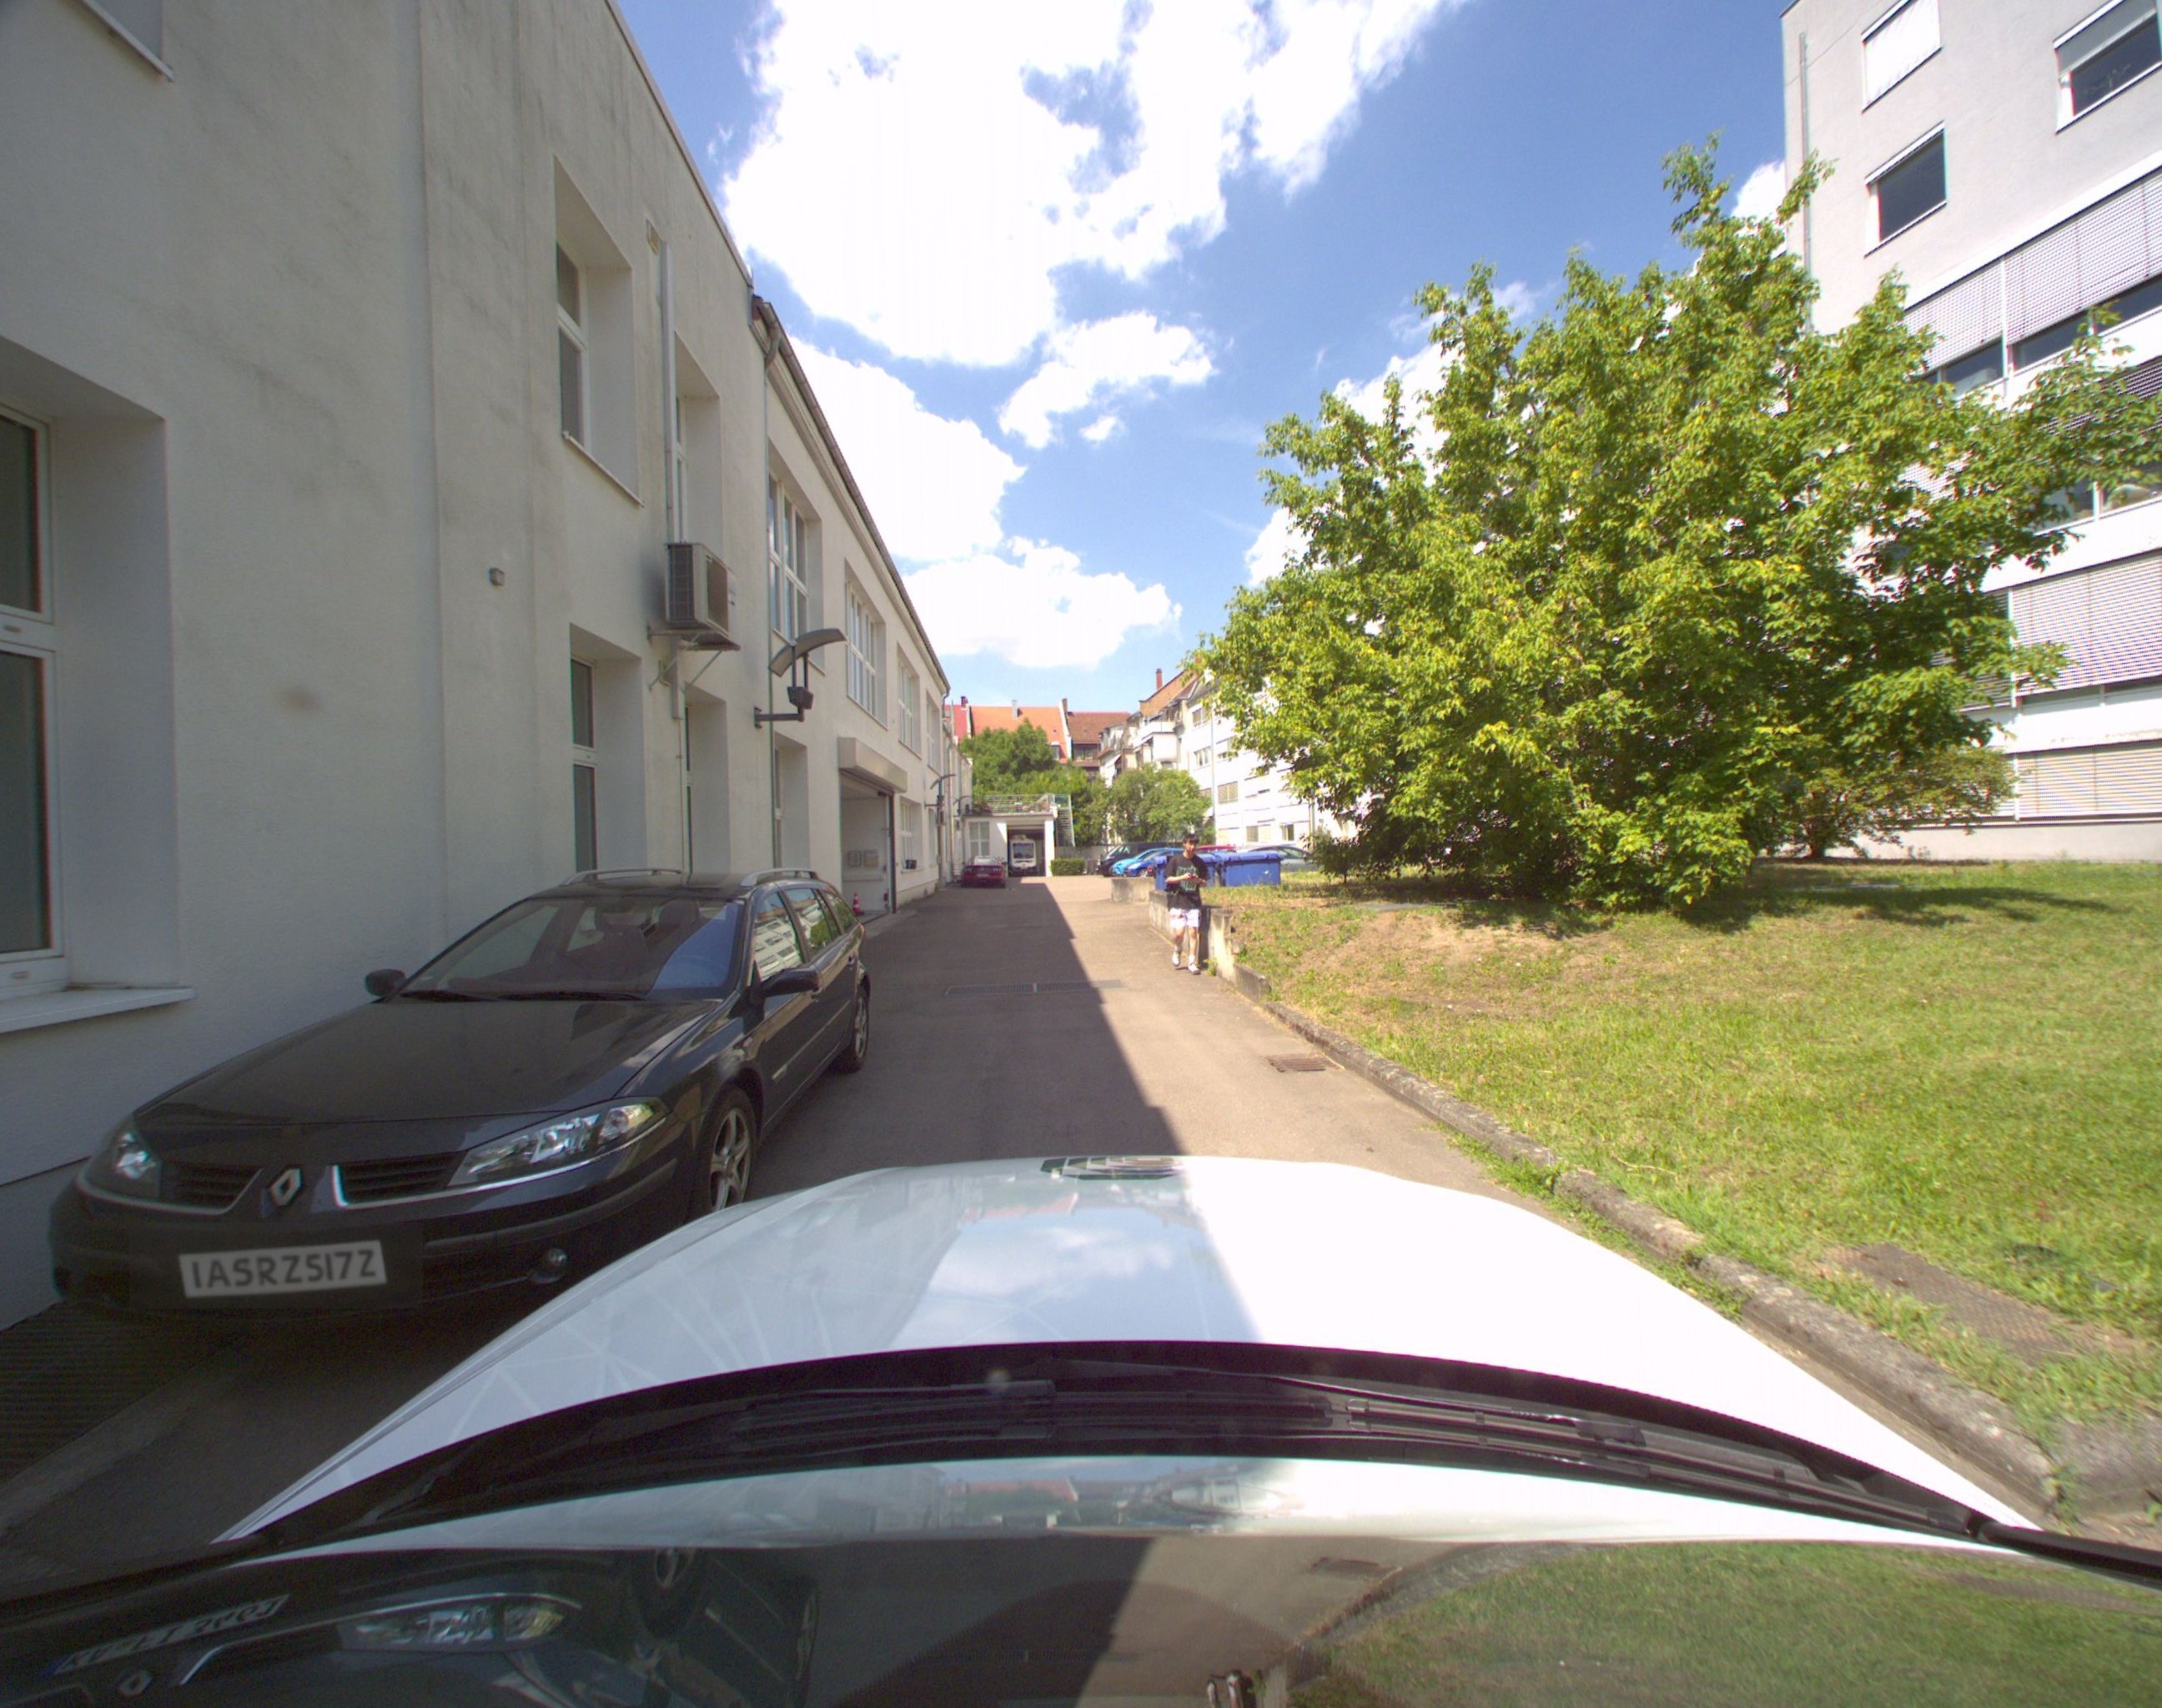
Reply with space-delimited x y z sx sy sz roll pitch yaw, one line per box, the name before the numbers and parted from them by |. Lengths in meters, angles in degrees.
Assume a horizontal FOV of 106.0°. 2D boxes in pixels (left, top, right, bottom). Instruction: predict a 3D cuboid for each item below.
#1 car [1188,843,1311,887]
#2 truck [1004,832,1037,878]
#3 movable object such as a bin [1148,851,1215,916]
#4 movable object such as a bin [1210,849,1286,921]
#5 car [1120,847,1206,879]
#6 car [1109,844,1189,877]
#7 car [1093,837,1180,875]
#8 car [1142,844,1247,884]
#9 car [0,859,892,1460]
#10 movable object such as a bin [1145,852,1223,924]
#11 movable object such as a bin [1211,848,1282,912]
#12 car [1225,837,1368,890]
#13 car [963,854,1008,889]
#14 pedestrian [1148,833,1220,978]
car | 6.009 0.377 29.292 3.982 1.390 1.801 -2 0 -6
truck | -4.146 0.068 54.982 1.788 2.937 4.638 -2 0 -9
movable object such as a bin | 2.190 0.617 17.942 1.191 1.326 1.158 -2 0 -6
movable object such as a bin | 3.310 0.593 16.299 1.213 1.326 1.160 -2 0 -2
car | 4.064 0.431 40.585 3.982 1.390 1.801 -2 0 -6
car | 3.600 0.332 43.533 3.982 1.534 1.801 -2 0 -6
car | 3.135 0.097 46.541 4.672 1.958 2.072 -2 0 -6
car | 4.685 0.407 33.983 3.982 1.478 1.801 -2 0 -6
car | -2.317 0.811 4.335 1.751 1.429 4.382 -2 1 -3
movable object such as a bin | 2.023 0.653 16.172 1.335 1.326 1.160 -2 0 -2
movable object such as a bin | 3.644 0.552 18.039 1.214 1.326 1.158 -2 0 -6
car | 6.779 0.280 25.834 3.982 1.478 1.801 -2 0 -6
car | -4.154 0.727 35.943 1.795 1.390 3.993 -2 1 -5
pedestrian | 1.292 0.624 10.361 0.755 1.755 0.751 -1 0 -3
